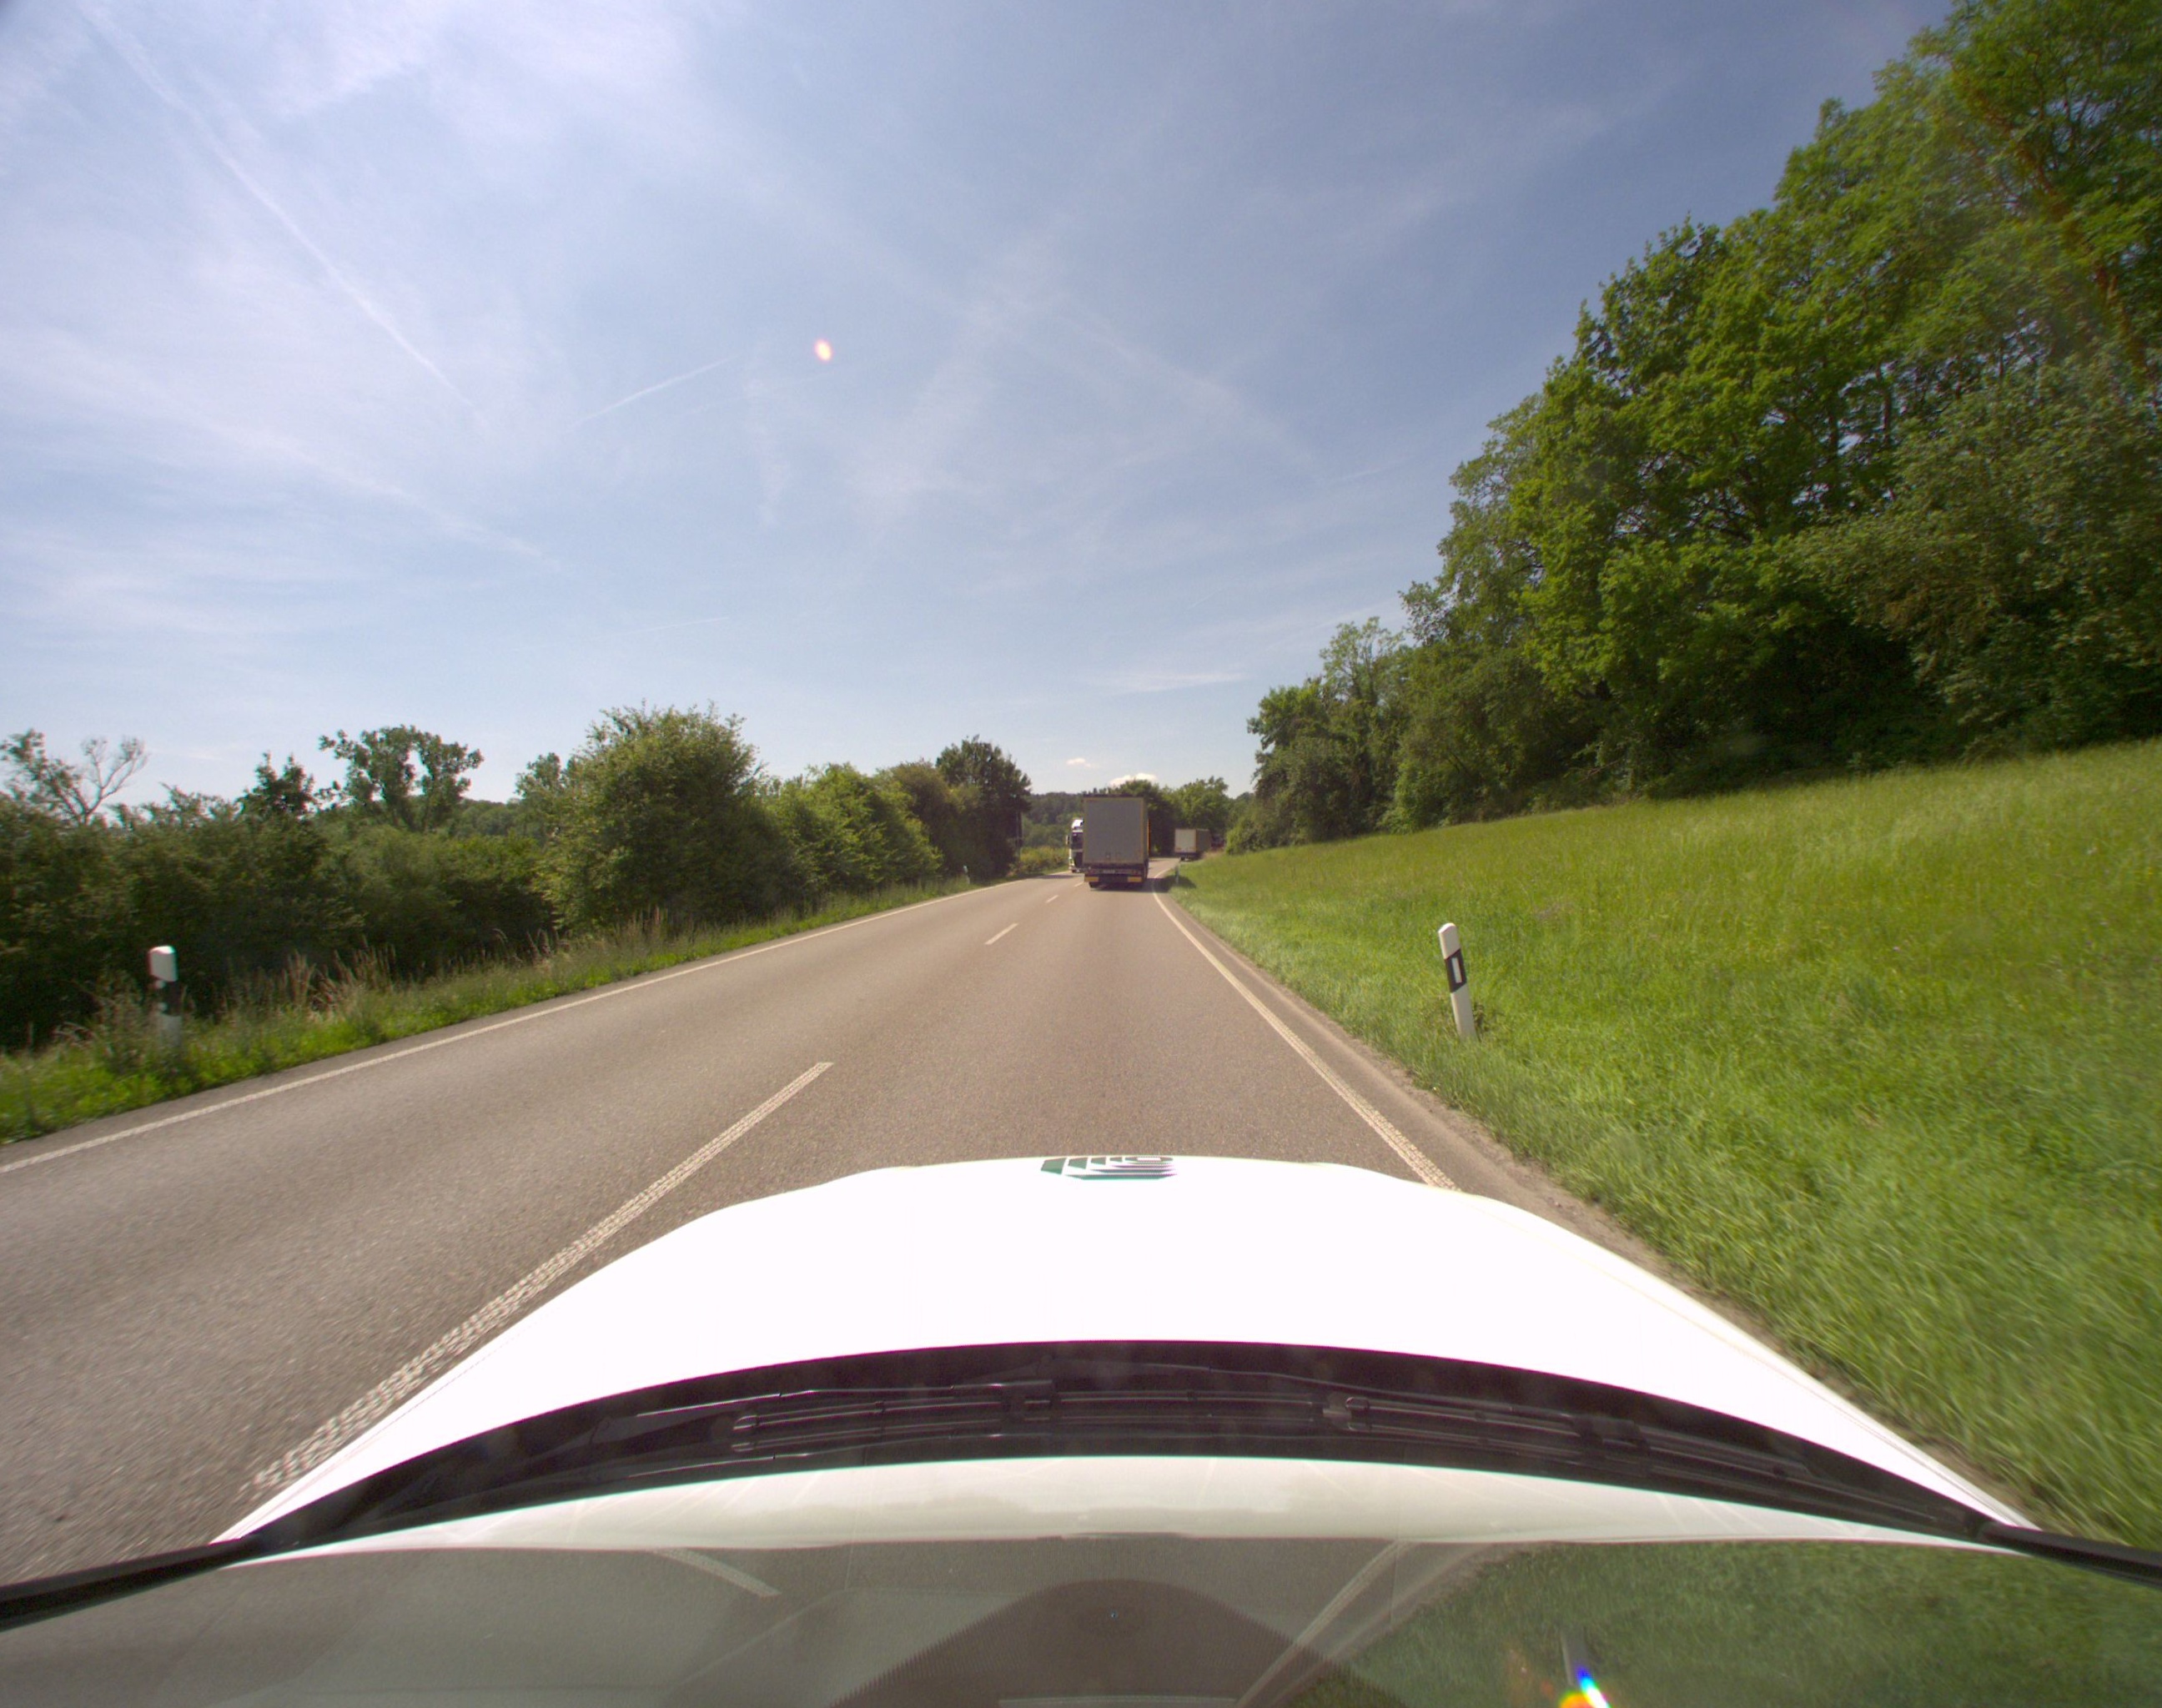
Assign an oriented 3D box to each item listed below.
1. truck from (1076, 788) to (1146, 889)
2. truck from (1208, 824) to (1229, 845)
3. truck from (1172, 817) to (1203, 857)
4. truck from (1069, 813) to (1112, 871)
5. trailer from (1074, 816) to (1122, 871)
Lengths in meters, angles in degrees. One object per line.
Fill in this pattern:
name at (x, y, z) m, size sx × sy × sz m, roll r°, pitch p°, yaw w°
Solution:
truck at (1.691, -0.604, 40.793) m, size 2.790 × 4.068 × 15.338 m, roll -1°, pitch 0°, yaw 3°
truck at (25.870, -3.744, 153.013) m, size 2.534 × 3.451 × 12.686 m, roll -5°, pitch 2°, yaw 14°
truck at (14.017, -2.197, 106.335) m, size 3.085 × 4.705 × 16.638 m, roll -1°, pitch 1°, yaw 10°
truck at (0.774, -0.859, 61.179) m, size 2.545 × 4.115 × 5.811 m, roll 0°, pitch 0°, yaw 7°
trailer at (1.632, -0.815, 68.109) m, size 2.554 × 4.108 × 13.689 m, roll 0°, pitch 0°, yaw 7°
